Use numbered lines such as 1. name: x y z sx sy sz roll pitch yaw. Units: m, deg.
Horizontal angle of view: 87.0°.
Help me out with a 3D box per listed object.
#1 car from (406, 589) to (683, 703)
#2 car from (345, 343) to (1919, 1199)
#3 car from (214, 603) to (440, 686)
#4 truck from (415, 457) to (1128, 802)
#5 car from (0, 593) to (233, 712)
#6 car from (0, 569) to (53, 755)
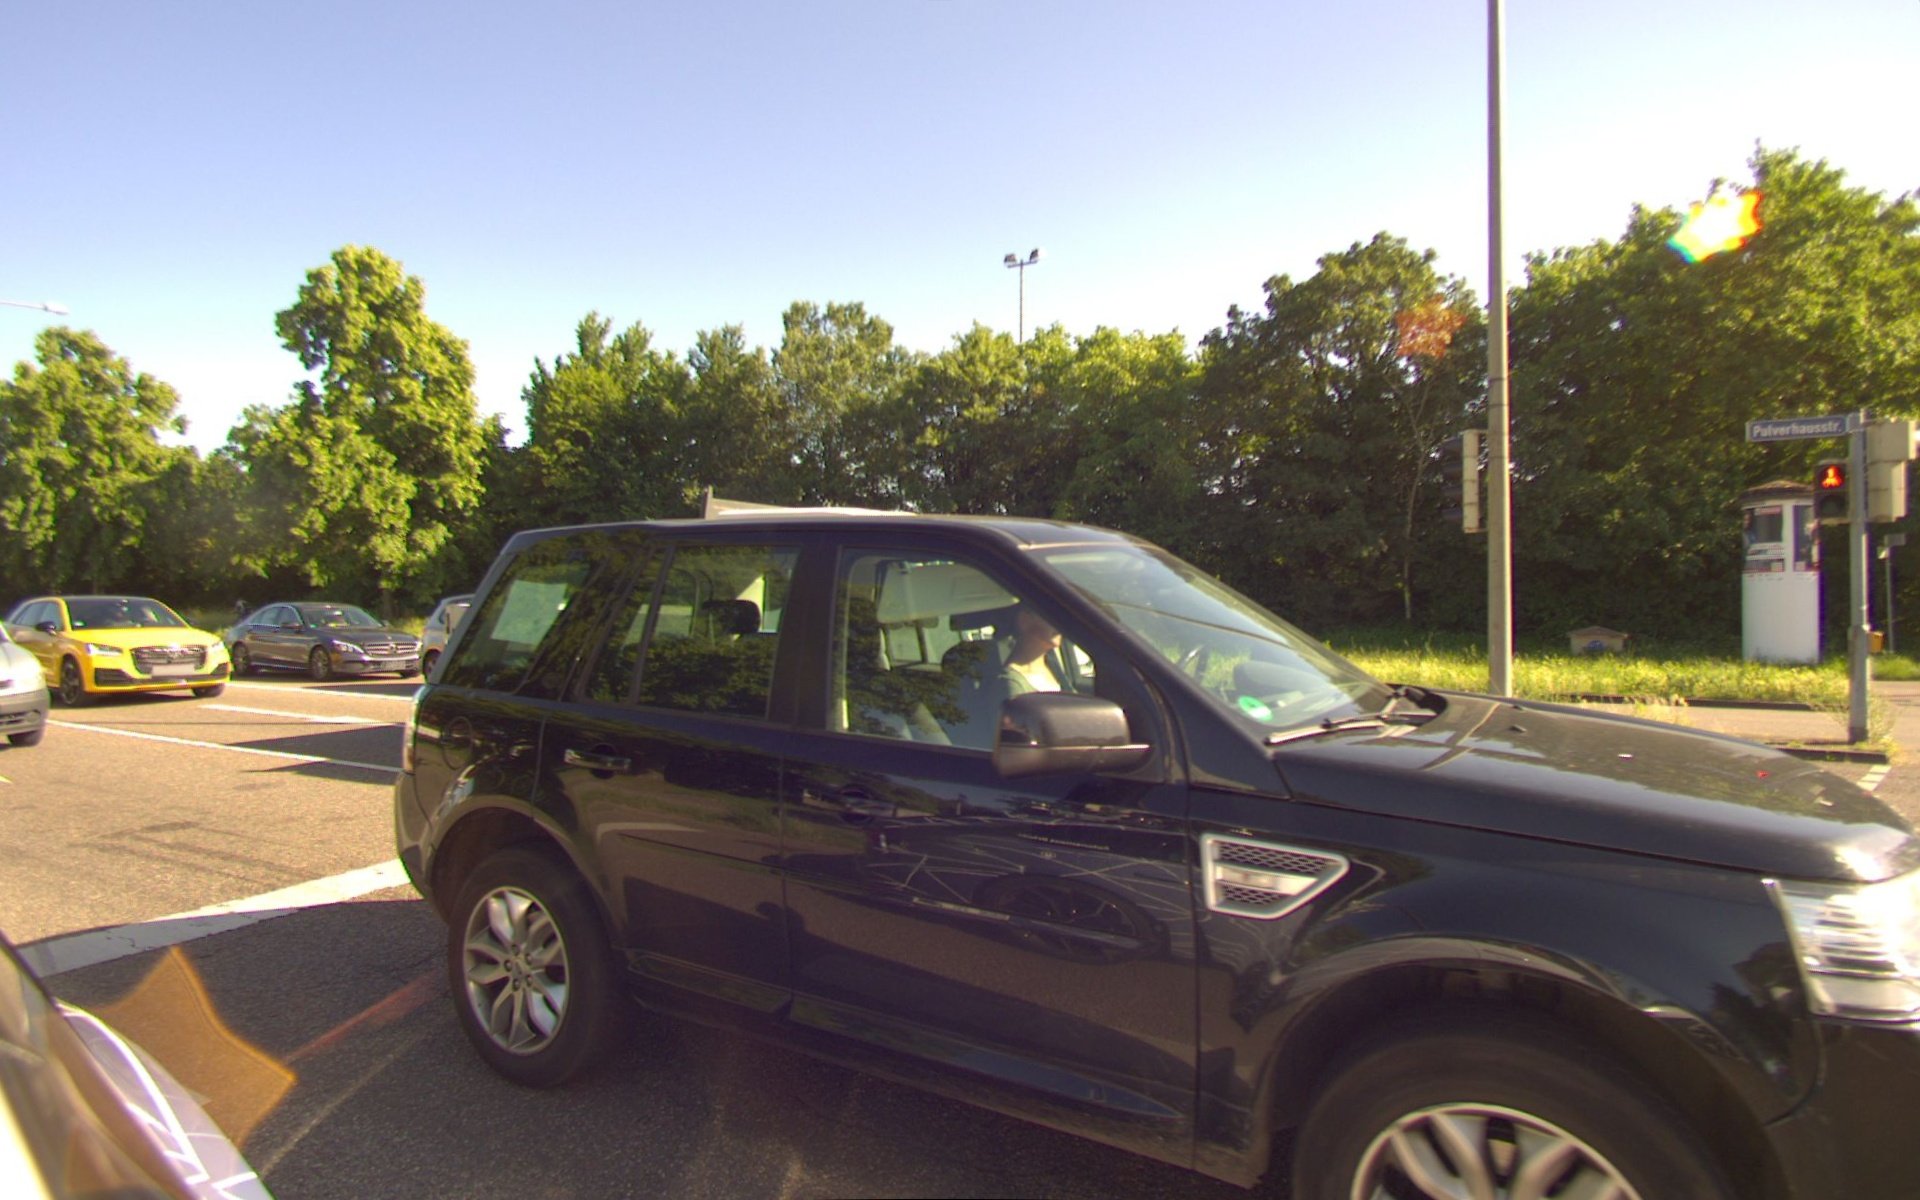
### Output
1. car: -6.605 0.654 16.017 4.226 1.587 1.861 0 -1 30
2. car: 0.290 0.496 3.022 4.375 1.696 1.809 0 0 31
3. car: -12.055 0.775 19.221 4.337 1.415 1.818 0 -1 30
4. truck: -2.001 0.221 9.440 6.745 2.327 2.170 0 -1 29
5. car: -12.613 0.678 14.886 3.986 1.512 1.709 0 1 32
6. car: -11.138 0.593 10.123 4.349 1.741 1.900 0 1 32
